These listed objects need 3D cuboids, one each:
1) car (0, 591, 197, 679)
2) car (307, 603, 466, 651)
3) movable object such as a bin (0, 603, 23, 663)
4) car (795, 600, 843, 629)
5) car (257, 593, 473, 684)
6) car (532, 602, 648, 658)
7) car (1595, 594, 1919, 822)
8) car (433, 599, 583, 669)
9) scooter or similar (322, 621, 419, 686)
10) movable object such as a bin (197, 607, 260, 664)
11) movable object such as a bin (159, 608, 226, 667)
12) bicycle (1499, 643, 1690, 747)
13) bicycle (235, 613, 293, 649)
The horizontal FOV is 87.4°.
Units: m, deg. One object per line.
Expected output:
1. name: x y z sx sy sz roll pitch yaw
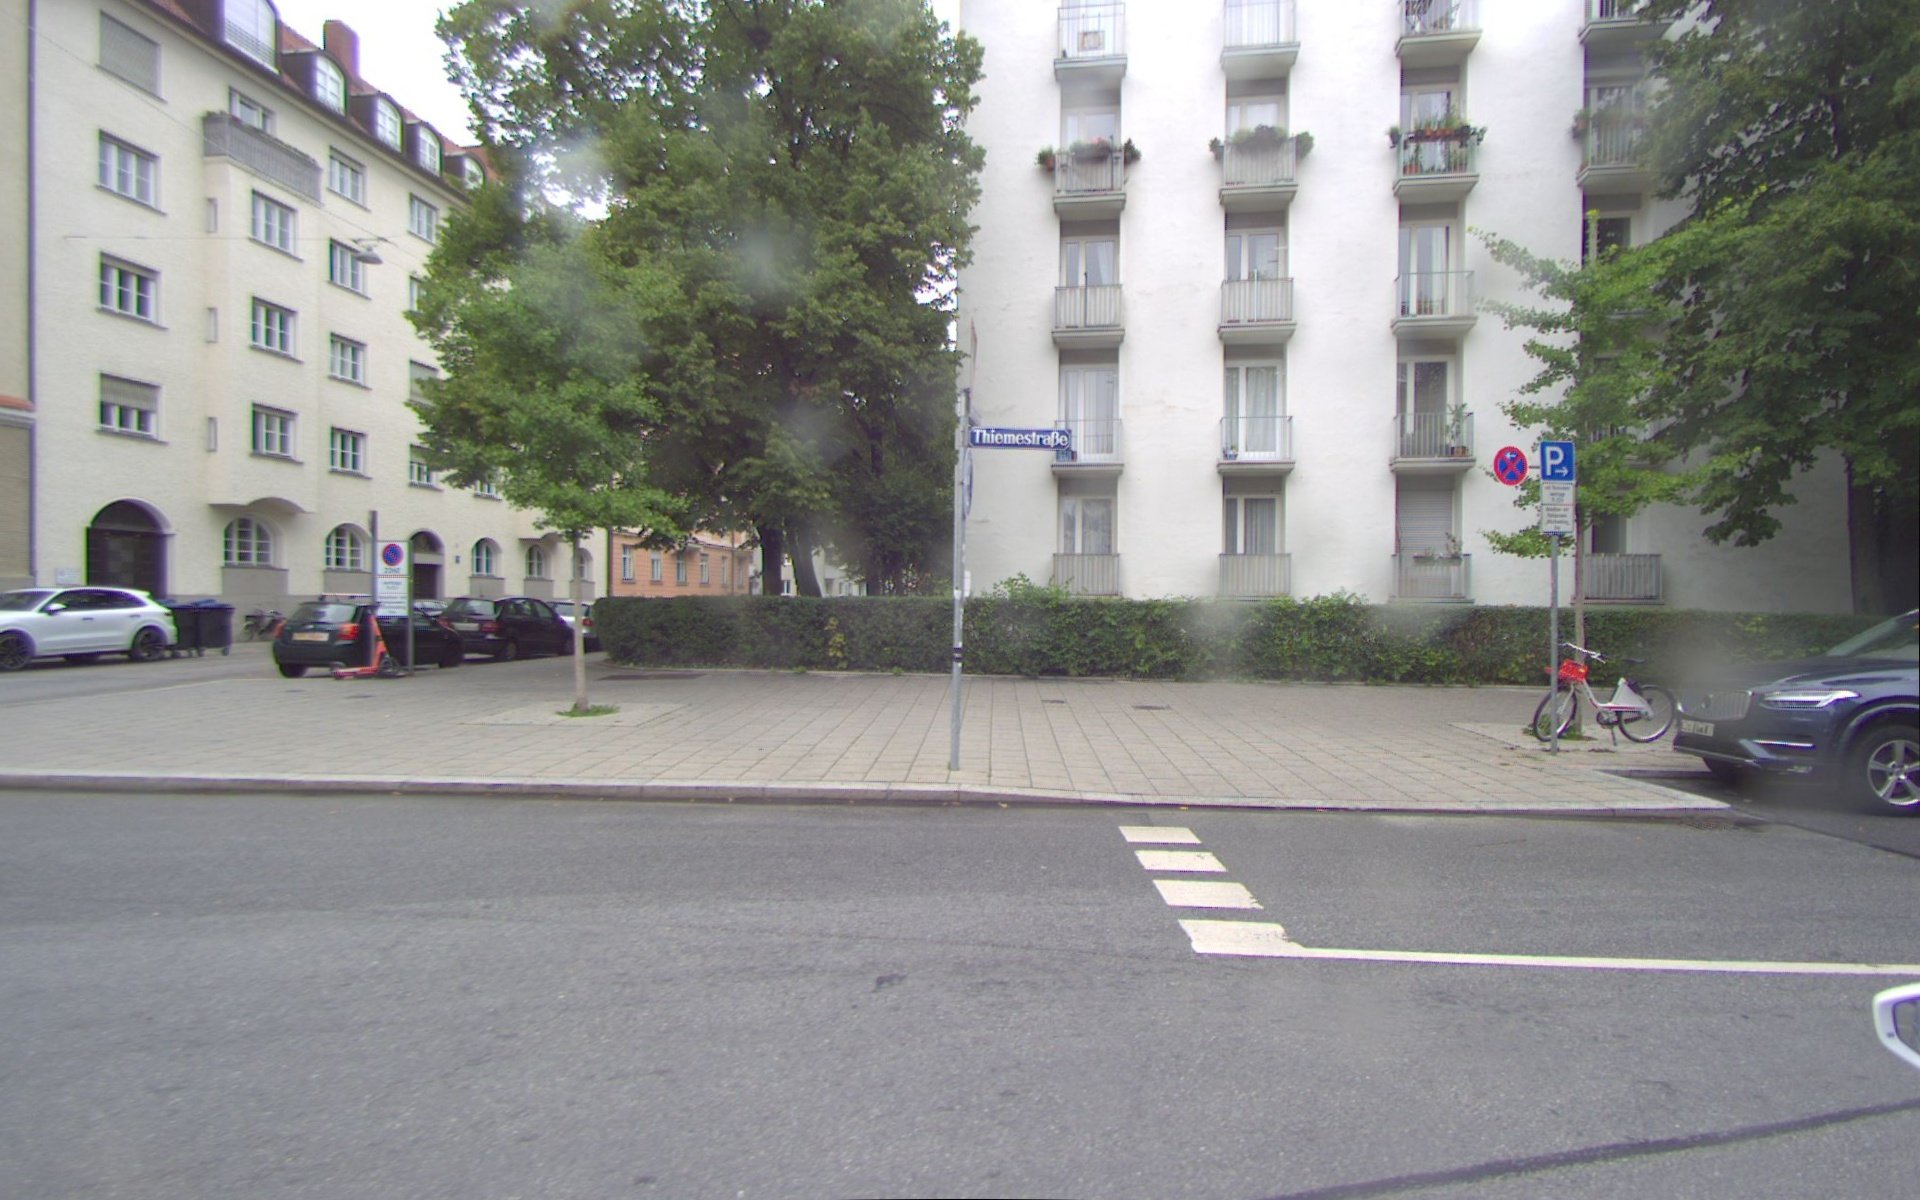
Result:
1. car: -19.220 0.685 21.245 1.959 1.698 4.993 1 0 8
2. car: -17.685 0.792 31.256 1.959 1.376 4.481 1 0 8
3. movable object such as a bin: -22.839 0.753 23.291 1.124 1.389 1.181 0 0 10
4. car: -7.664 0.757 54.976 1.641 1.476 3.679 -2 -1 8
5. car: -11.337 0.690 19.453 1.641 1.548 3.679 -2 -1 8
6. car: -10.828 0.844 29.629 1.641 1.476 3.679 -2 -1 8
7. car: 8.777 0.852 8.666 5.198 1.742 2.091 1 0 4
8. car: -11.005 0.790 24.751 1.641 1.548 3.679 -2 -1 8
9. scooter or similar: -9.762 0.879 16.656 1.286 1.038 0.528 0 0 -4
10. movable object such as a bin: -18.797 0.903 25.816 0.932 1.419 0.919 0 0 11
11. movable object such as a bin: -19.009 0.918 24.890 0.932 1.419 0.919 0 0 11
12. bicycle: 7.134 1.047 11.331 1.751 1.099 0.752 0 0 -8
13. bicycle: -22.056 0.967 31.869 0.540 1.083 1.815 0 0 0
